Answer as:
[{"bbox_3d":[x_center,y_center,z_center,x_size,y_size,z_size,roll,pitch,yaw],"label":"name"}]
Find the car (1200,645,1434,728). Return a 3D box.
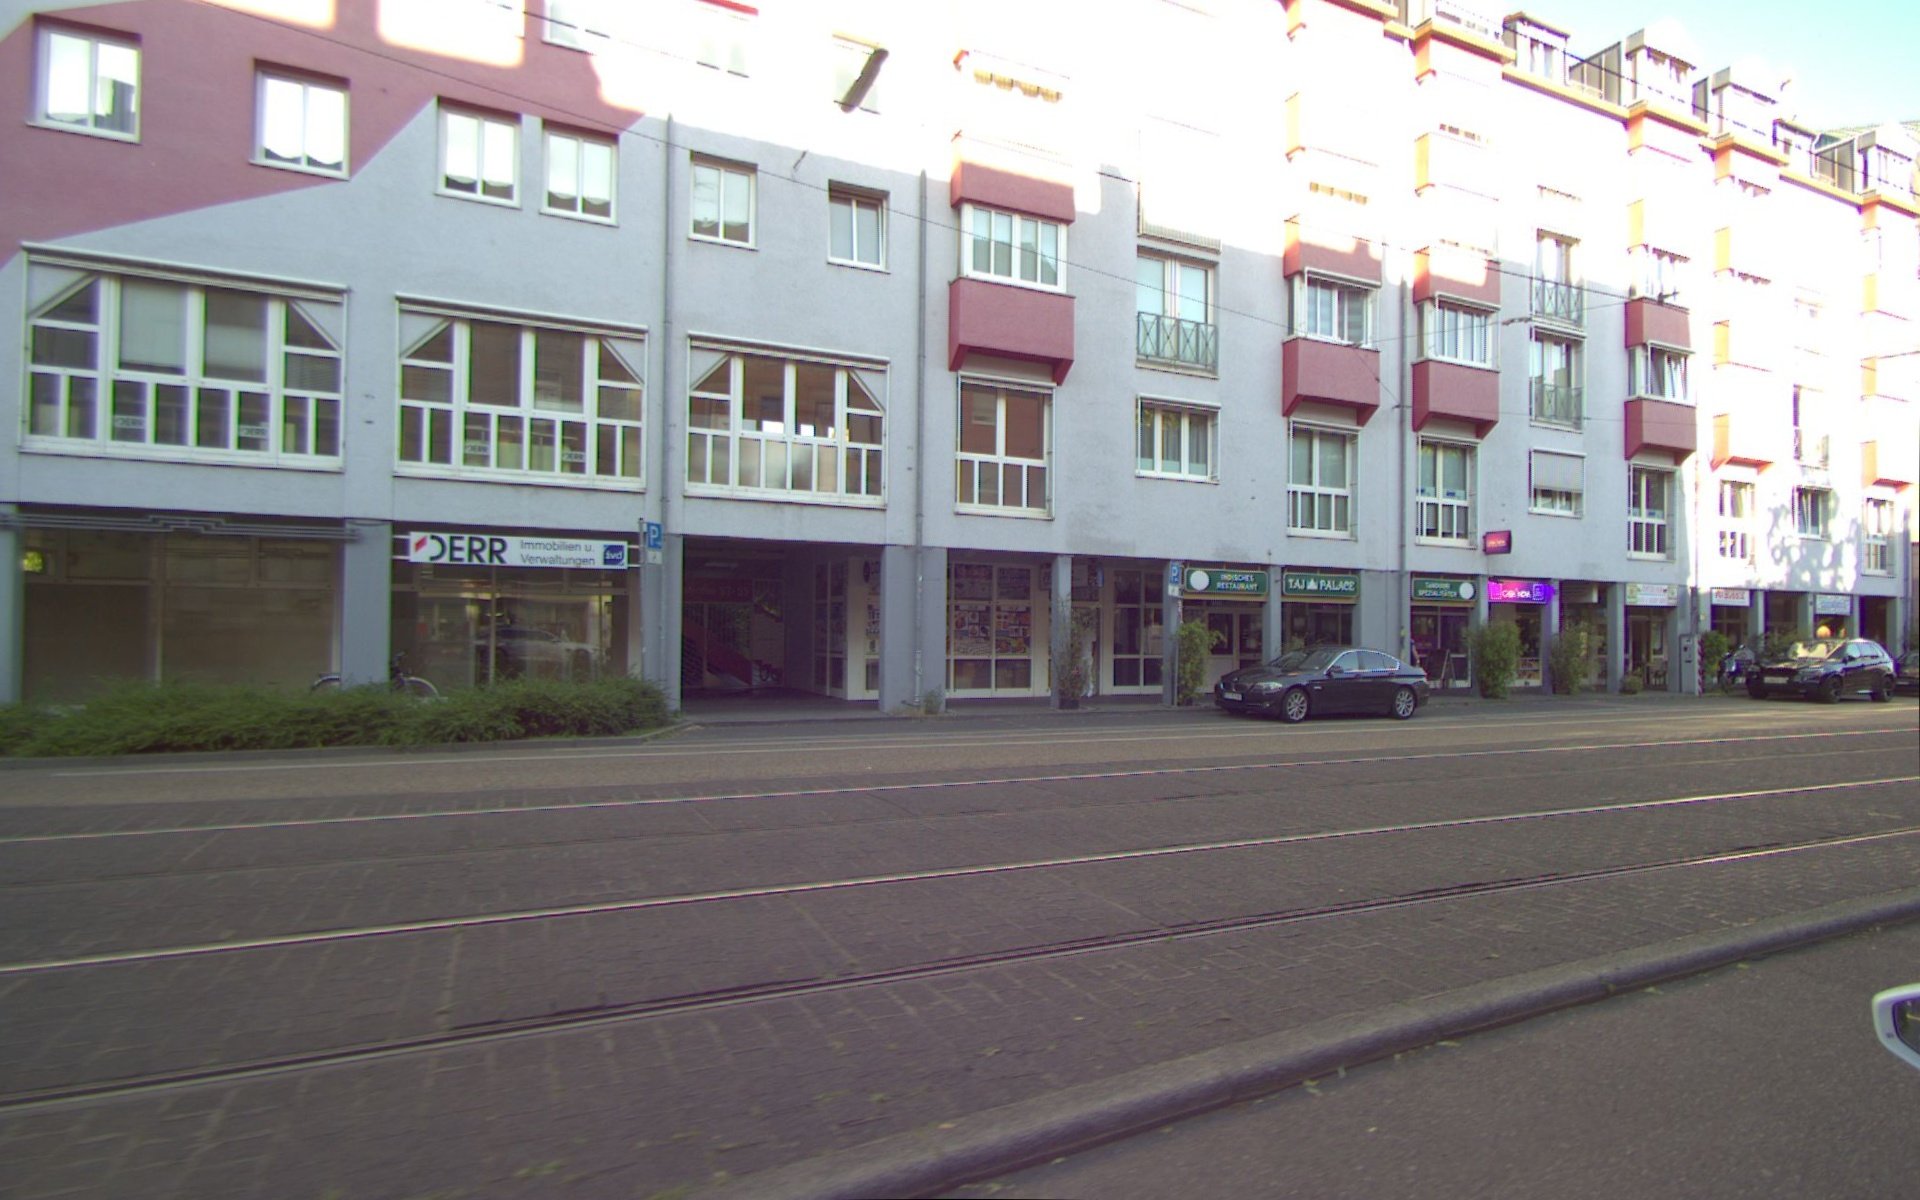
[{"bbox_3d":[7.343,1.703,20.563,4.647,1.458,1.862,2,-1,-28],"label":"car"}]

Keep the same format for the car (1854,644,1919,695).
[{"bbox_3d":[30.454,2.183,31.781,3.531,1.470,1.866,2,0,-22],"label":"car"}]

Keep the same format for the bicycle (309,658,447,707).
[{"bbox_3d":[-8.872,1.251,15.360,1.789,0.667,0.453,1,1,-31],"label":"bicycle"}]

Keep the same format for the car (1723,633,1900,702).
[{"bbox_3d":[24.203,1.915,28.546,4.756,1.735,2.084,3,0,-26],"label":"car"}]

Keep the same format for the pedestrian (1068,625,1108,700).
[{"bbox_3d":[3.013,1.456,23.615,0.608,1.734,0.740,1,-1,-28],"label":"pedestrian"}]

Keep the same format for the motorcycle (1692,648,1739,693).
[{"bbox_3d":[21.975,2.027,29.200,2.125,1.221,0.663,3,0,-42],"label":"motorcycle"}]

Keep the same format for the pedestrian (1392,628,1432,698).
[{"bbox_3d":[11.551,1.597,25.648,0.736,1.734,0.612,1,-1,-27],"label":"pedestrian"}]
